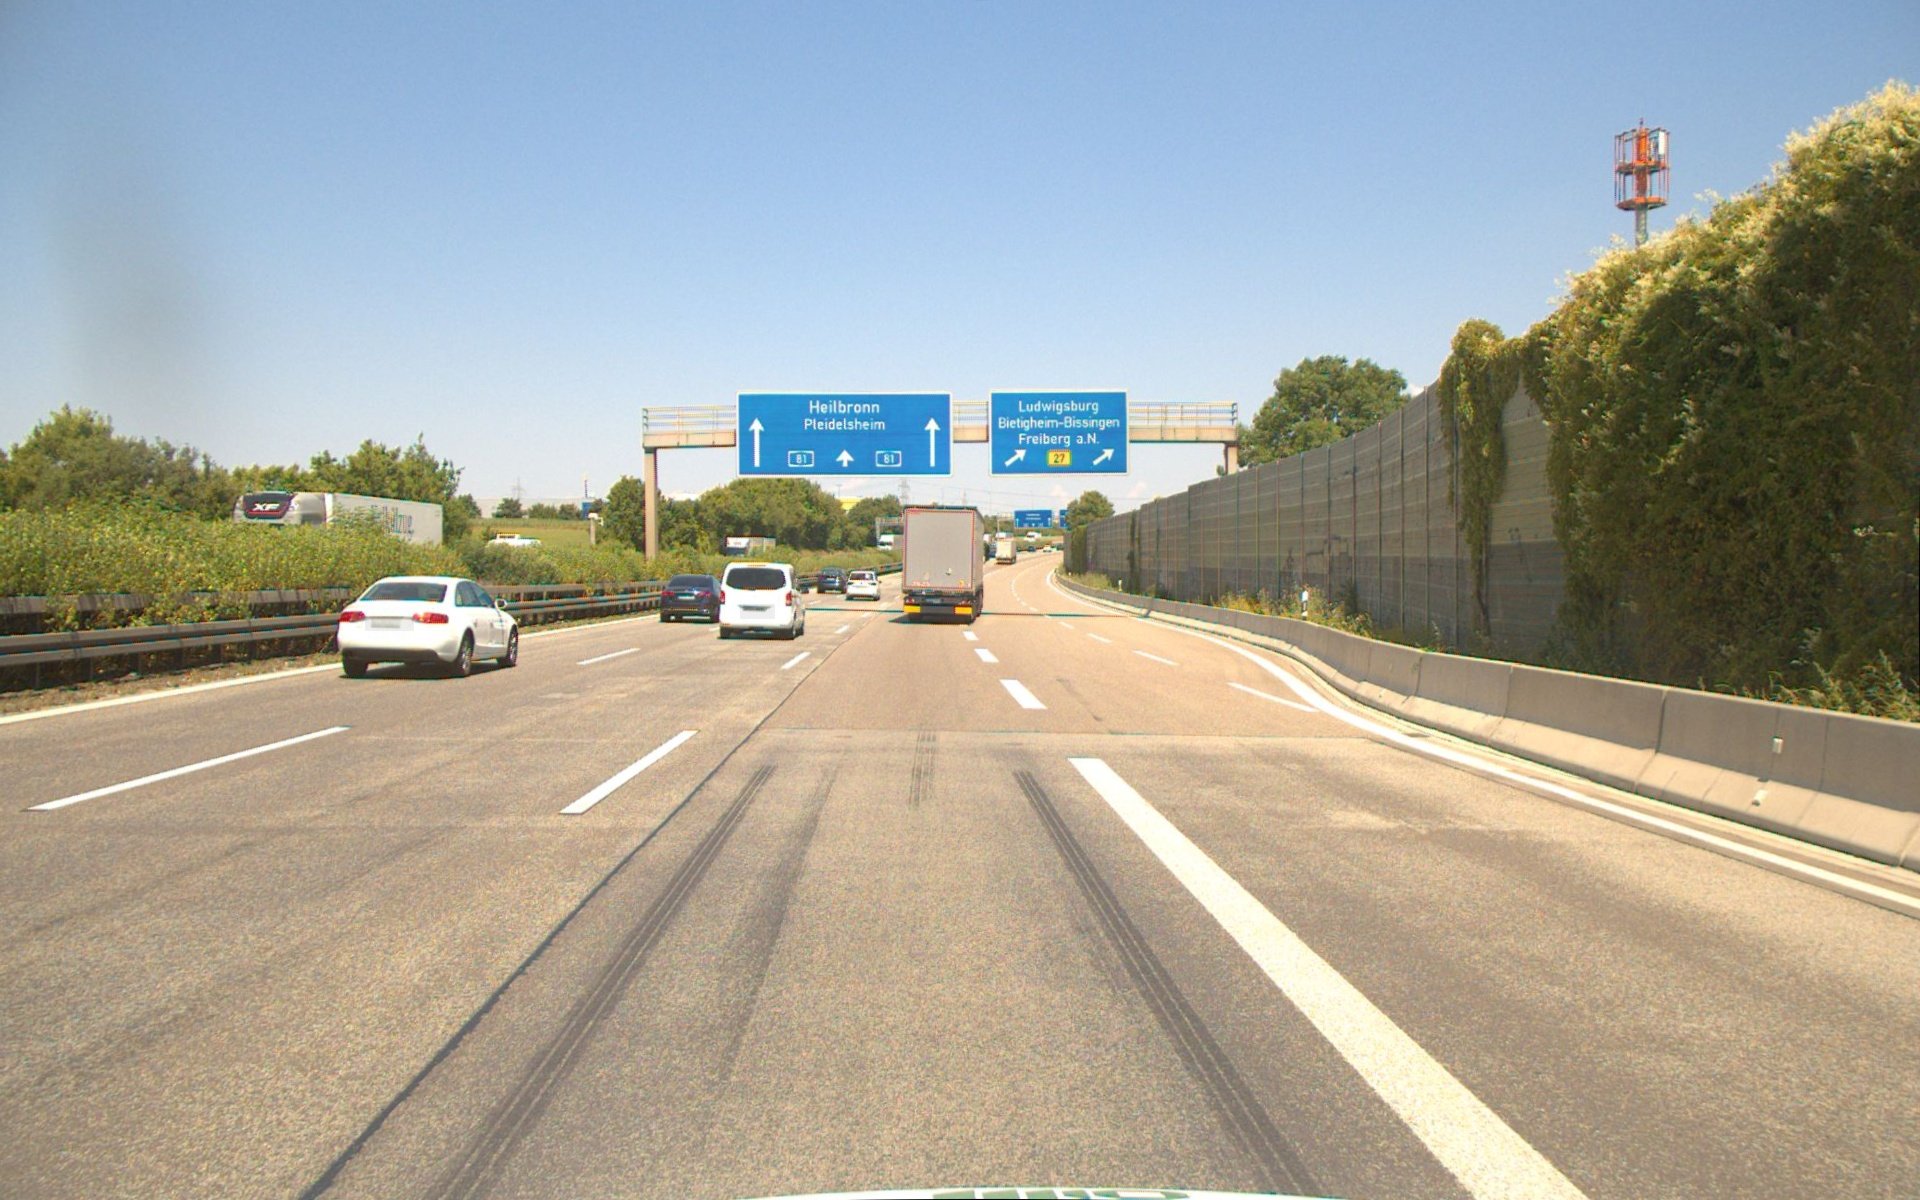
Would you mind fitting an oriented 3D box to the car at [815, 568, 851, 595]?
[{"bbox_3d":[-8.359,-1.220,109.146,1.865,1.718,4.632,0,1,1],"label":"car"}]

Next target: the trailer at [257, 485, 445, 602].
[{"bbox_3d":[-24.107,-2.150,66.607,2.552,4.205,14.227,1,1,-1],"label":"trailer"}]

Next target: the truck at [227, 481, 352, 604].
[{"bbox_3d":[-24.017,-2.022,59.462,2.552,4.228,4.748,1,1,0],"label":"truck"}]

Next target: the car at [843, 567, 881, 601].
[{"bbox_3d":[-5.508,-0.879,93.780,1.865,1.884,4.631,0,0,0],"label":"car"}]

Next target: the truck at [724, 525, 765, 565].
[{"bbox_3d":[-22.625,-5.712,174.023,2.940,4.036,10.321,1,1,-1],"label":"truck"}]

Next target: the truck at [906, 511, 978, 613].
[{"bbox_3d":[-0.726,-1.535,70.073,2.868,4.085,7.583,0,0,0],"label":"truck"}]

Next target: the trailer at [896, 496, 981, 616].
[{"bbox_3d":[-0.739,-1.524,62.304,2.868,4.085,12.038,0,0,0],"label":"trailer"}]

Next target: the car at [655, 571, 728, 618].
[{"bbox_3d":[-8.583,-0.182,53.245,1.721,1.433,5.037,0,0,-2],"label":"car"}]

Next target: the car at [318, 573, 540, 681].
[{"bbox_3d":[-8.018,0.333,25.514,1.838,1.465,5.125,1,1,-1],"label":"car"}]

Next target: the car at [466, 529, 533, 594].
[{"bbox_3d":[-20.554,-1.726,74.018,1.953,2.813,3.999,1,1,-2],"label":"car"}]

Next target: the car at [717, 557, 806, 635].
[{"bbox_3d":[-5.025,-0.116,42.316,1.892,1.884,4.690,0,0,-2],"label":"car"}]
